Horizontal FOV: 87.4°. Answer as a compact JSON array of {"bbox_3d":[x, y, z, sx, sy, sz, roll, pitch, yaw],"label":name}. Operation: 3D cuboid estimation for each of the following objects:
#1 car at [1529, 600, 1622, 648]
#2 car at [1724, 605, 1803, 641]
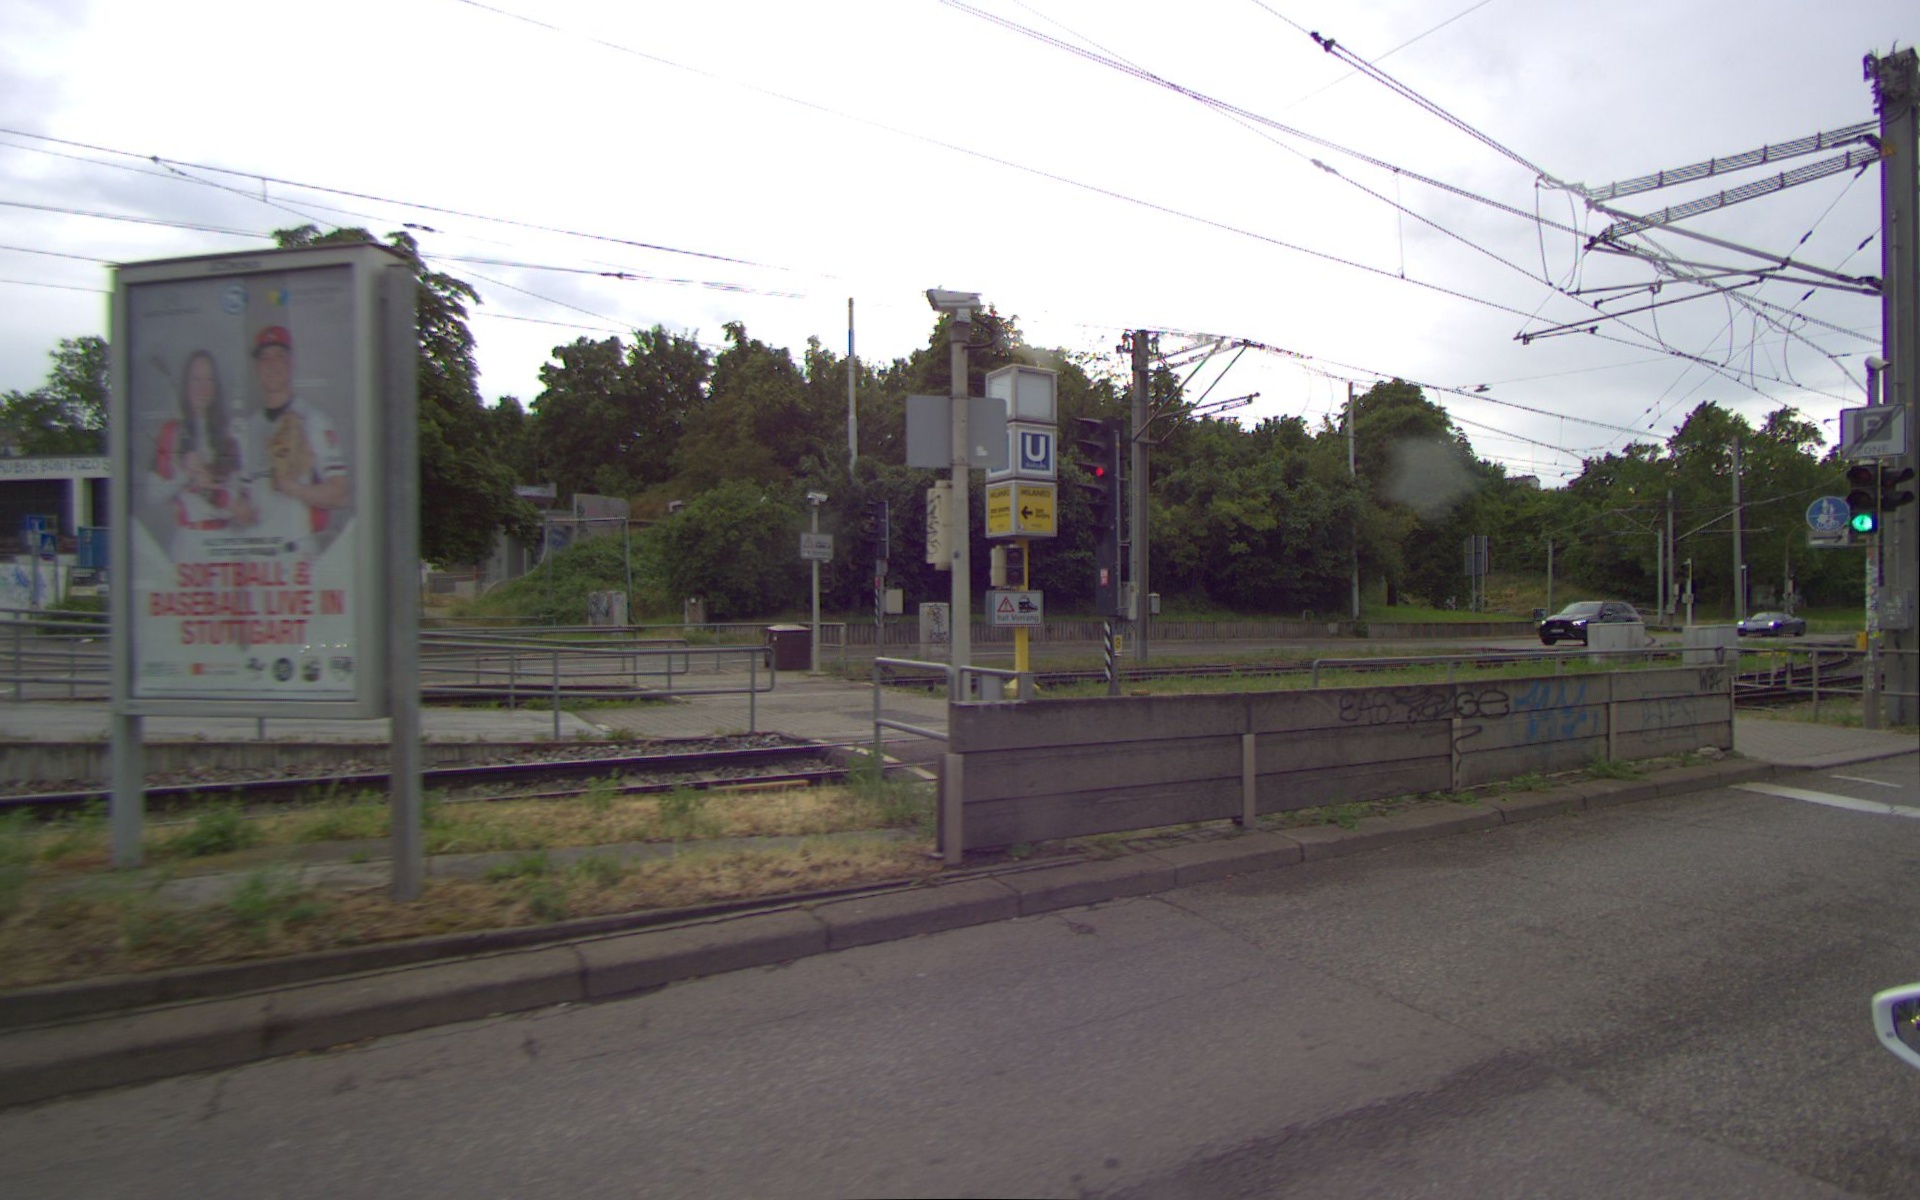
[{"bbox_3d":[24.531,0.935,40.042,3.258,1.654,1.661,-2,4,-26],"label":"car"},{"bbox_3d":[43.199,1.197,54.026,3.760,1.654,1.844,-2,4,-26],"label":"car"}]
